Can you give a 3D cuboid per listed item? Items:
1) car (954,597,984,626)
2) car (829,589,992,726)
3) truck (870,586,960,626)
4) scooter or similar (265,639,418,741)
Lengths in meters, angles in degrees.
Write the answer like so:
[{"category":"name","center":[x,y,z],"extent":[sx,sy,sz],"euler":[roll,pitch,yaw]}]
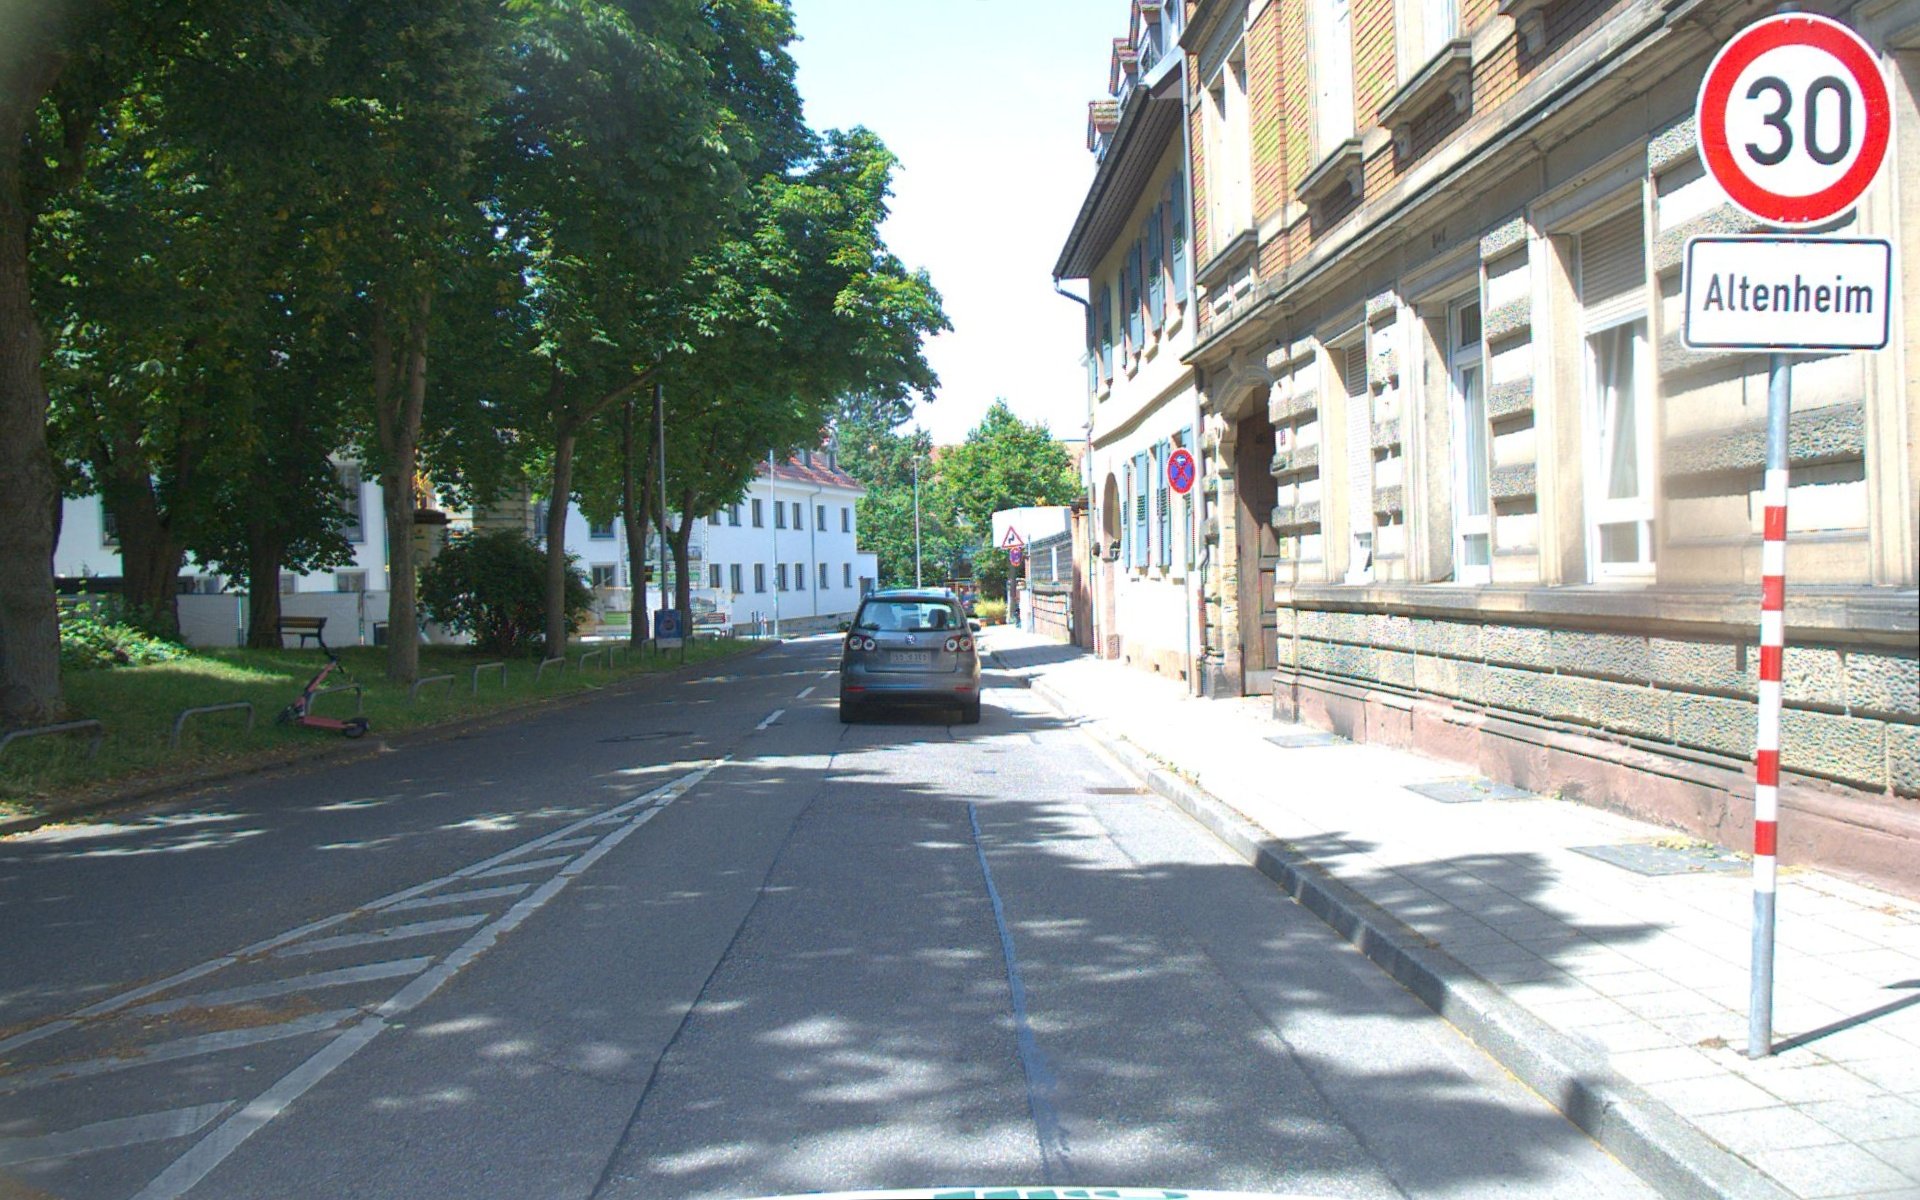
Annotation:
[{"category":"car","center":[0.487,0.666,96.252],"extent":[1.614,1.601,3.638],"euler":[-1,0,-1]},{"category":"car","center":[-0.537,0.662,21.092],"extent":[1.864,1.560,4.244],"euler":[0,0,1]},{"category":"truck","center":[-2.497,0.337,91.308],"extent":[4.704,2.049,2.142],"euler":[-2,0,-9]},{"category":"scooter or similar","center":[-7.392,1.060,19.869],"extent":[1.248,1.008,1.450],"euler":[7,-1,-4]}]
